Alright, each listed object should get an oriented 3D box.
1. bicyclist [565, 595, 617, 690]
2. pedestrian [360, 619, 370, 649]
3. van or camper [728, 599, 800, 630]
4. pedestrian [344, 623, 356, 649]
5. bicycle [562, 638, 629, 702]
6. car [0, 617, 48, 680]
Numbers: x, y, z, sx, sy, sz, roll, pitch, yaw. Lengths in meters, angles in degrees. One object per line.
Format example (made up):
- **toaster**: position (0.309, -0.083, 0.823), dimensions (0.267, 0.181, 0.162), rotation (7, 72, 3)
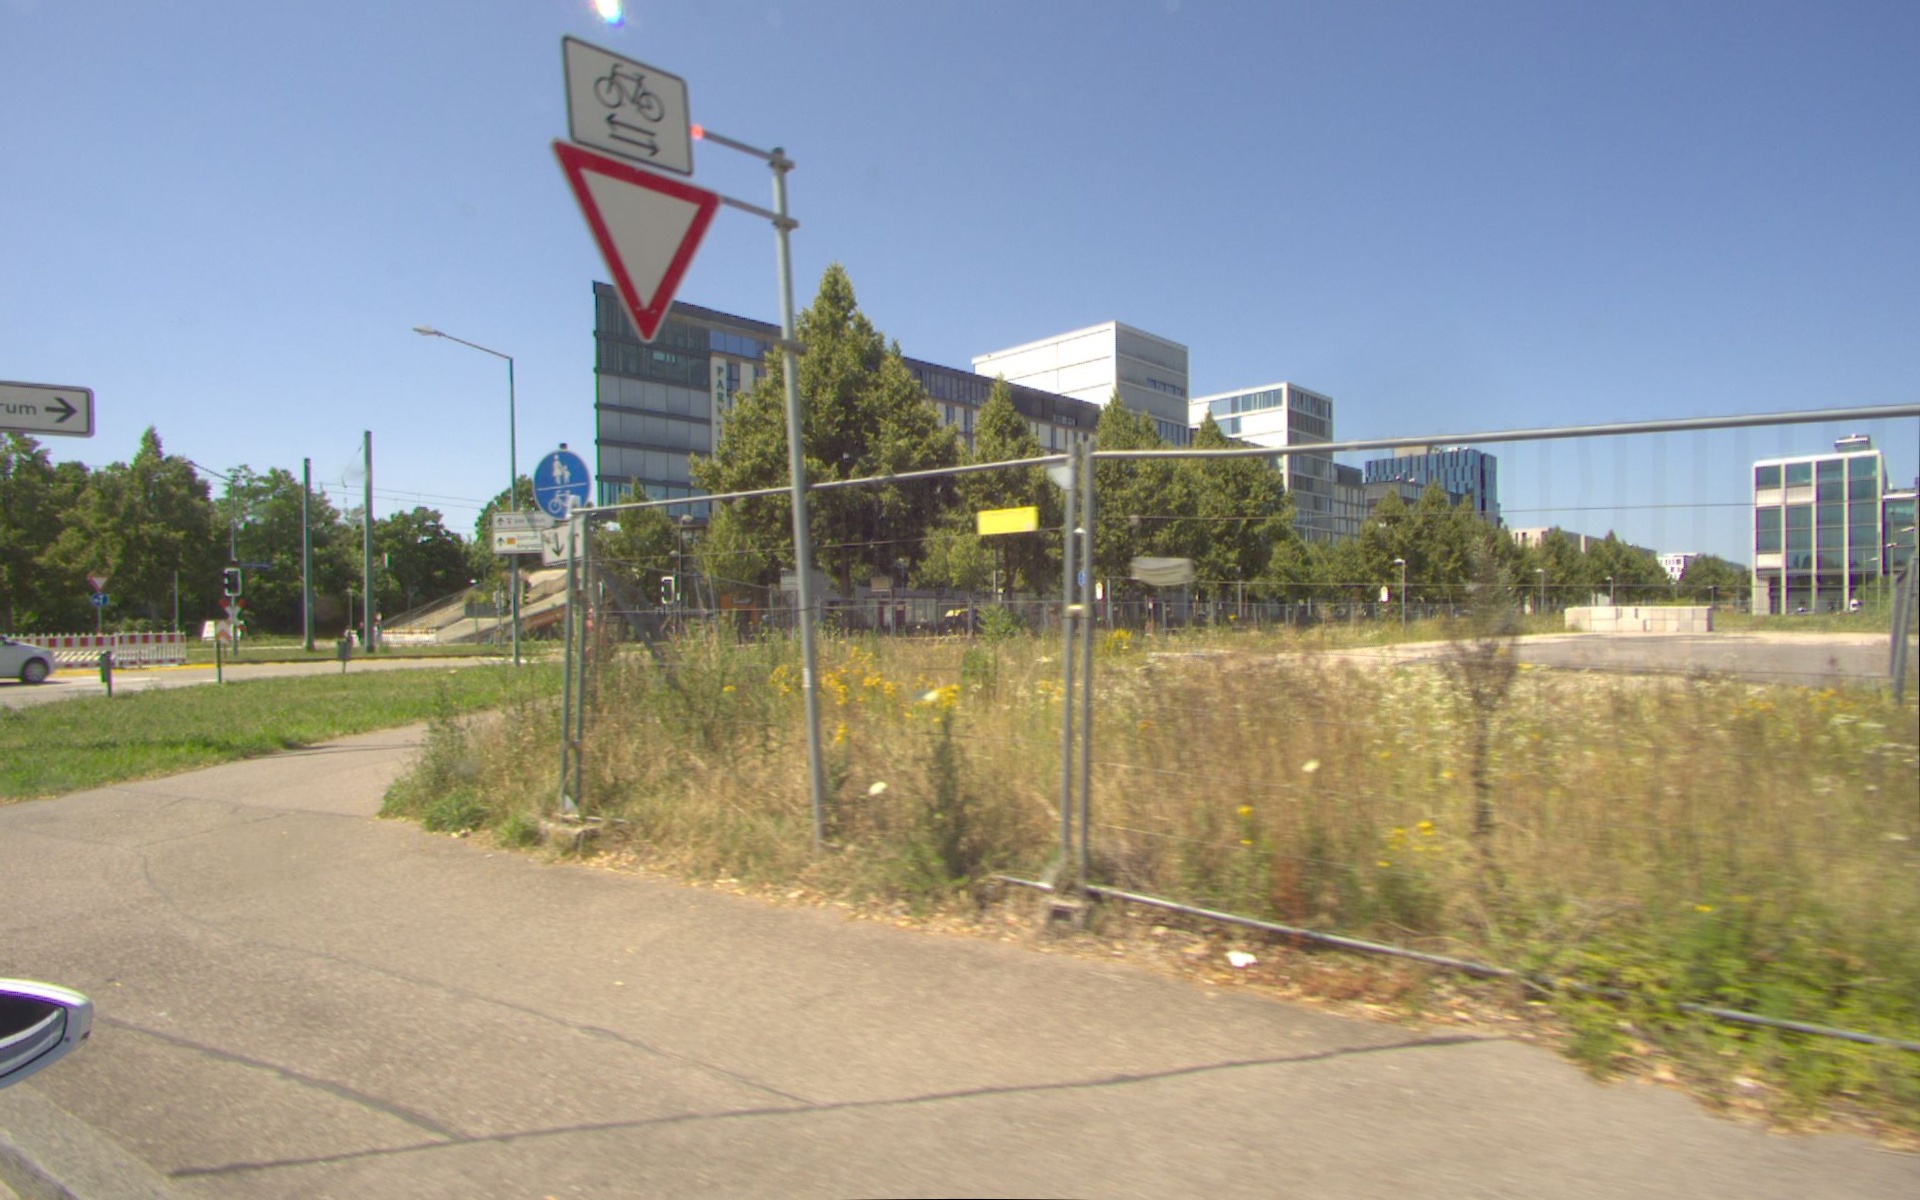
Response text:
- **bicyclist**: position (-6.744, 0.771, 18.331), dimensions (0.633, 1.685, 0.710), rotation (-2, 0, 1)
- **pedestrian**: position (-35.289, 2.013, 59.391), dimensions (0.288, 1.761, 0.445), rotation (0, 0, 43)
- **van or camper**: position (-18.801, 1.452, 96.416), dimensions (2.356, 2.859, 6.732), rotation (0, -1, 41)
- **pedestrian**: position (-35.372, 2.081, 58.043), dimensions (0.348, 1.448, 0.517), rotation (0, 0, 41)
- **bicycle**: position (-6.678, 1.254, 18.459), dimensions (0.431, 1.071, 2.088), rotation (-1, -1, 1)
- **car**: position (-23.192, 1.082, 22.153), dimensions (1.820, 1.467, 4.353), rotation (0, -2, 6)
